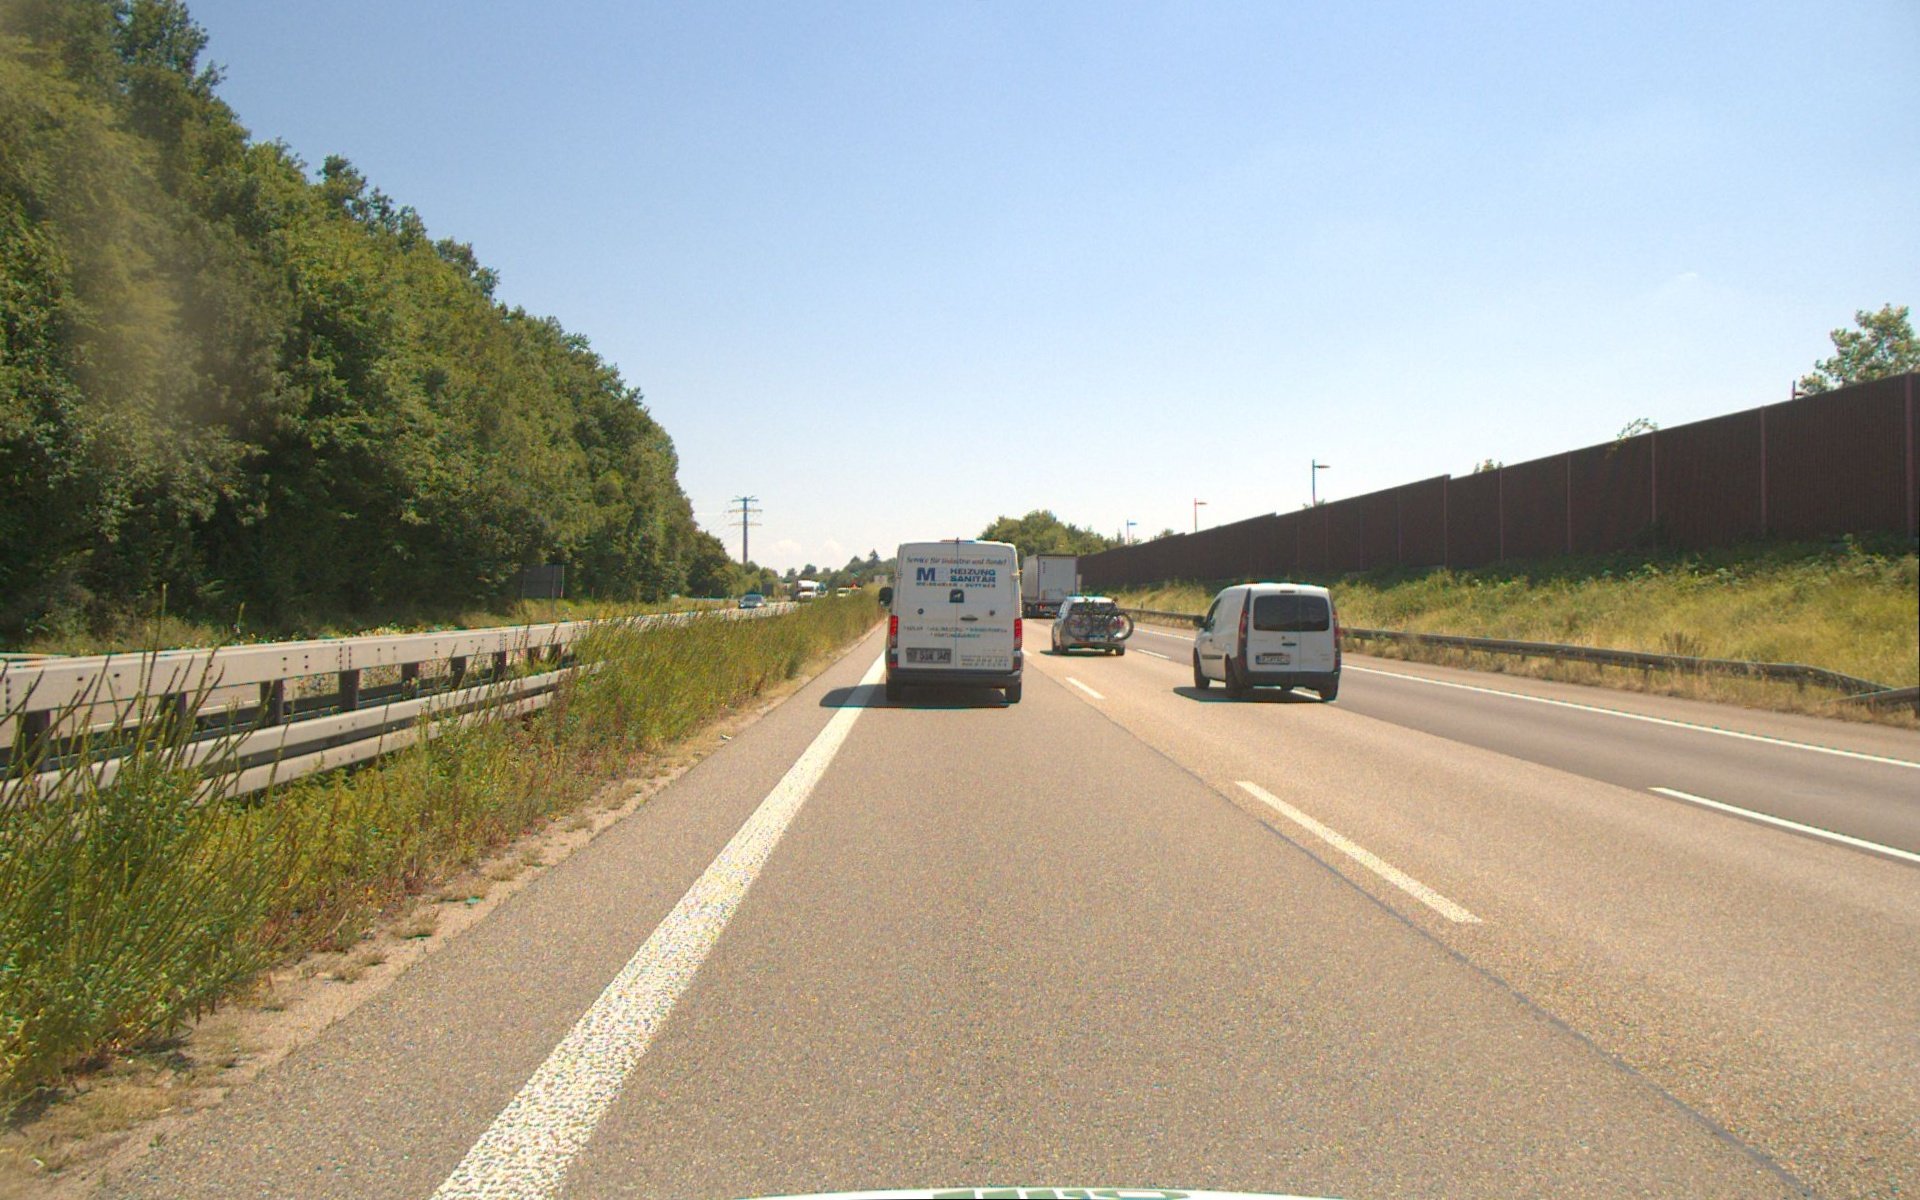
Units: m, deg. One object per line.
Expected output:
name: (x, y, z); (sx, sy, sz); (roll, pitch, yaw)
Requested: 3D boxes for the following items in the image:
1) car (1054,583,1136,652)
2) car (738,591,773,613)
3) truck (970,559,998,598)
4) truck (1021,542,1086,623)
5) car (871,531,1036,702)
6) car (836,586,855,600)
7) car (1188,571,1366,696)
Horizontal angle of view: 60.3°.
car: (3.621, 0.460, 44.903); (1.935, 1.763, 4.089); (-1, 0, 1)
car: (-14.660, 0.121, 118.774); (1.953, 1.545, 4.721); (-2, 0, -1)
truck: (3.380, -2.983, 231.524); (3.710, 5.087, 12.519); (1, -1, 1)
truck: (6.163, -1.051, 111.342); (3.710, 5.087, 12.519); (1, -1, 1)
car: (-0.229, 0.240, 25.261); (2.139, 2.293, 5.358); (1, 0, -4)
car: (-13.880, -0.909, 200.885); (1.953, 1.615, 4.425); (-2, 0, -1)
car: (5.092, 0.524, 27.166); (1.912, 1.870, 4.175); (-1, 0, -3)
